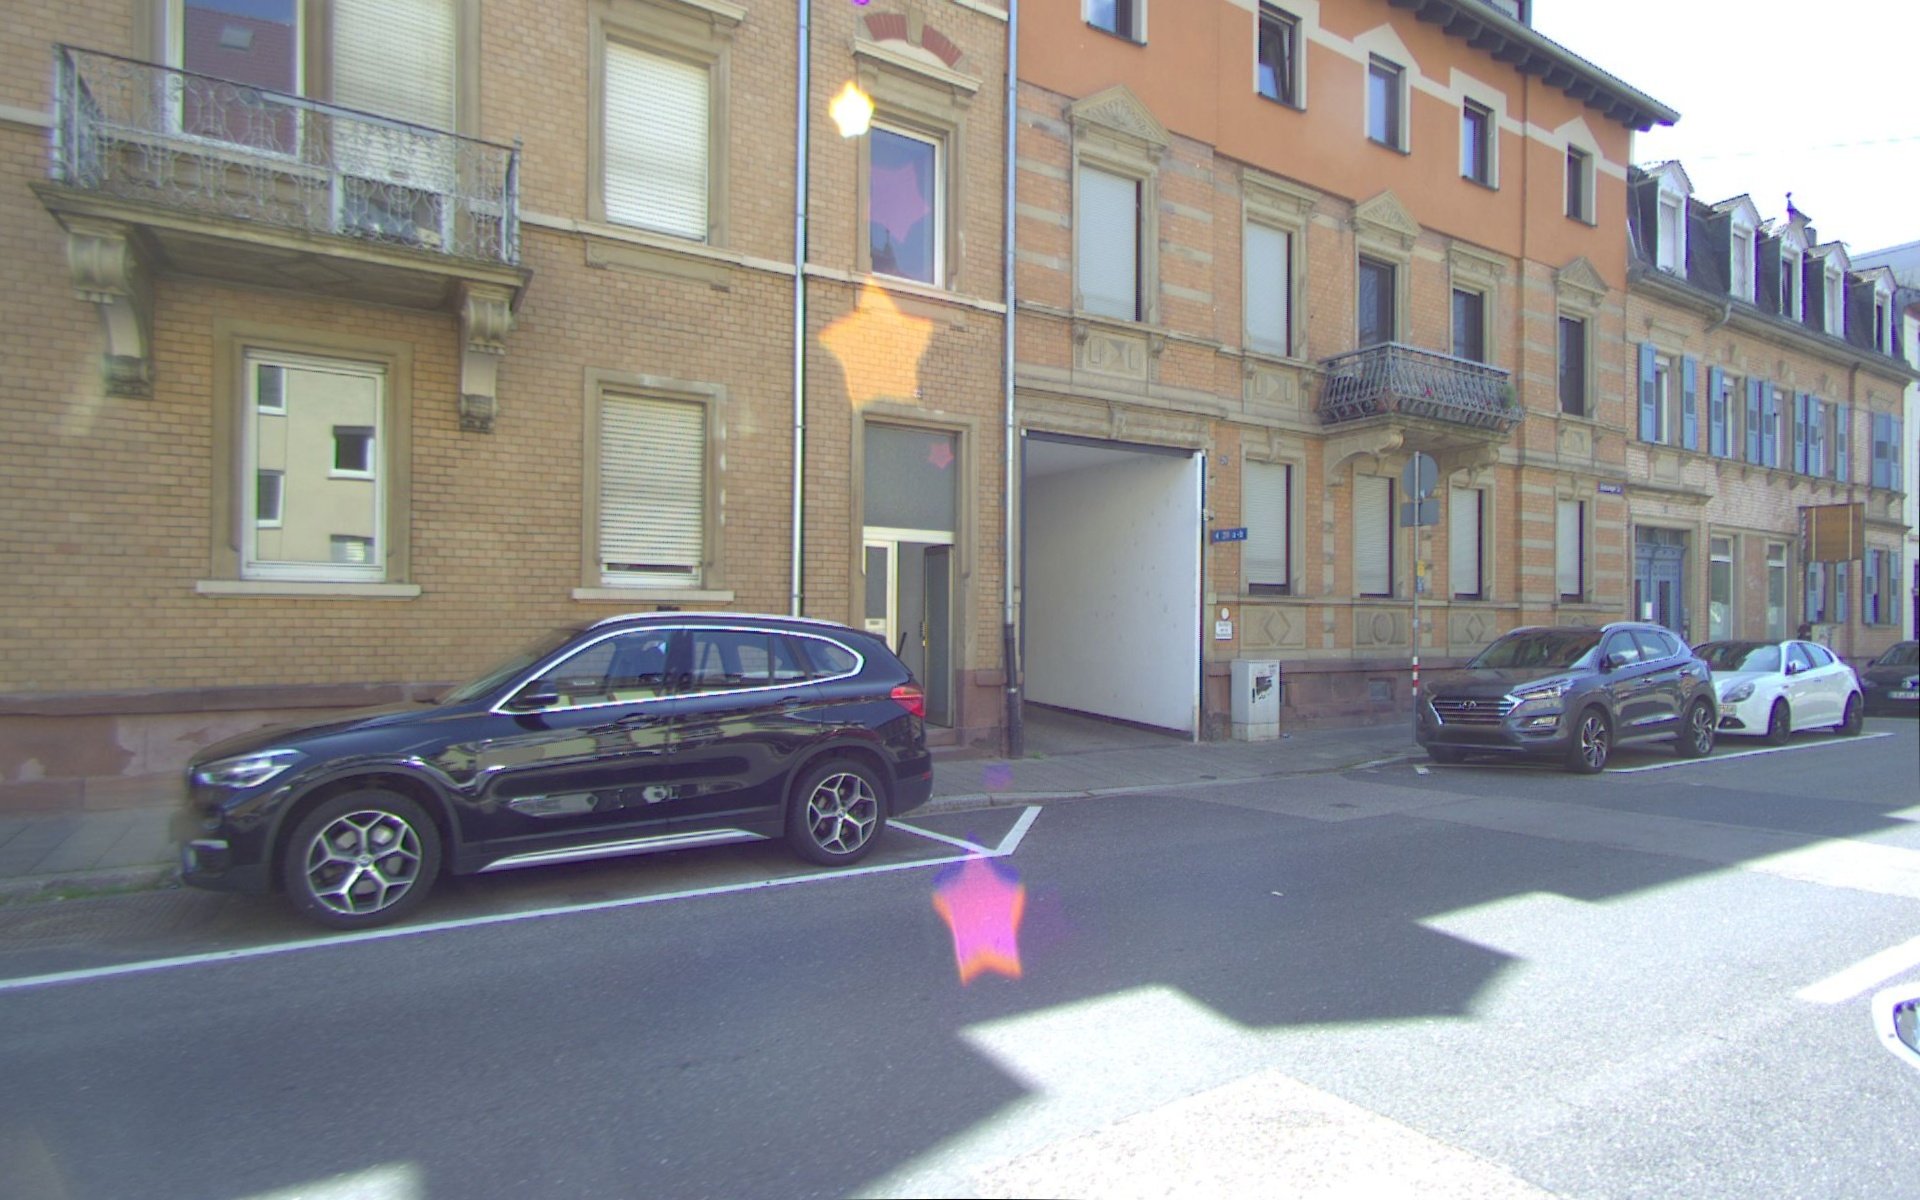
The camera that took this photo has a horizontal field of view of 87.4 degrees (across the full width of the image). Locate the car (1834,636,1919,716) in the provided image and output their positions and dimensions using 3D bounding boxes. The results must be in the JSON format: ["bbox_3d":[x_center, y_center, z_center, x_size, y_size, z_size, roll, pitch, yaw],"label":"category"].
[{"bbox_3d":[18.874,1.430,19.475,4.287,1.424,1.854,2,-5,-35],"label":"car"}]

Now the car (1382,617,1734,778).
[{"bbox_3d":[7.383,1.108,12.291,4.451,1.649,1.855,1,-4,-33],"label":"car"}]

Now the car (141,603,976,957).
[{"bbox_3d":[-2.263,0.910,6.497,4.451,1.571,1.855,1,-4,-33],"label":"car"}]

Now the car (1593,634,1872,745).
[{"bbox_3d":[11.577,1.267,15.007,4.282,1.444,1.856,1,-4,-32],"label":"car"}]

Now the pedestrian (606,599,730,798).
[{"bbox_3d":[-2.460,0.785,8.420,0.864,1.555,0.800,1,-1,-26],"label":"pedestrian"}]
